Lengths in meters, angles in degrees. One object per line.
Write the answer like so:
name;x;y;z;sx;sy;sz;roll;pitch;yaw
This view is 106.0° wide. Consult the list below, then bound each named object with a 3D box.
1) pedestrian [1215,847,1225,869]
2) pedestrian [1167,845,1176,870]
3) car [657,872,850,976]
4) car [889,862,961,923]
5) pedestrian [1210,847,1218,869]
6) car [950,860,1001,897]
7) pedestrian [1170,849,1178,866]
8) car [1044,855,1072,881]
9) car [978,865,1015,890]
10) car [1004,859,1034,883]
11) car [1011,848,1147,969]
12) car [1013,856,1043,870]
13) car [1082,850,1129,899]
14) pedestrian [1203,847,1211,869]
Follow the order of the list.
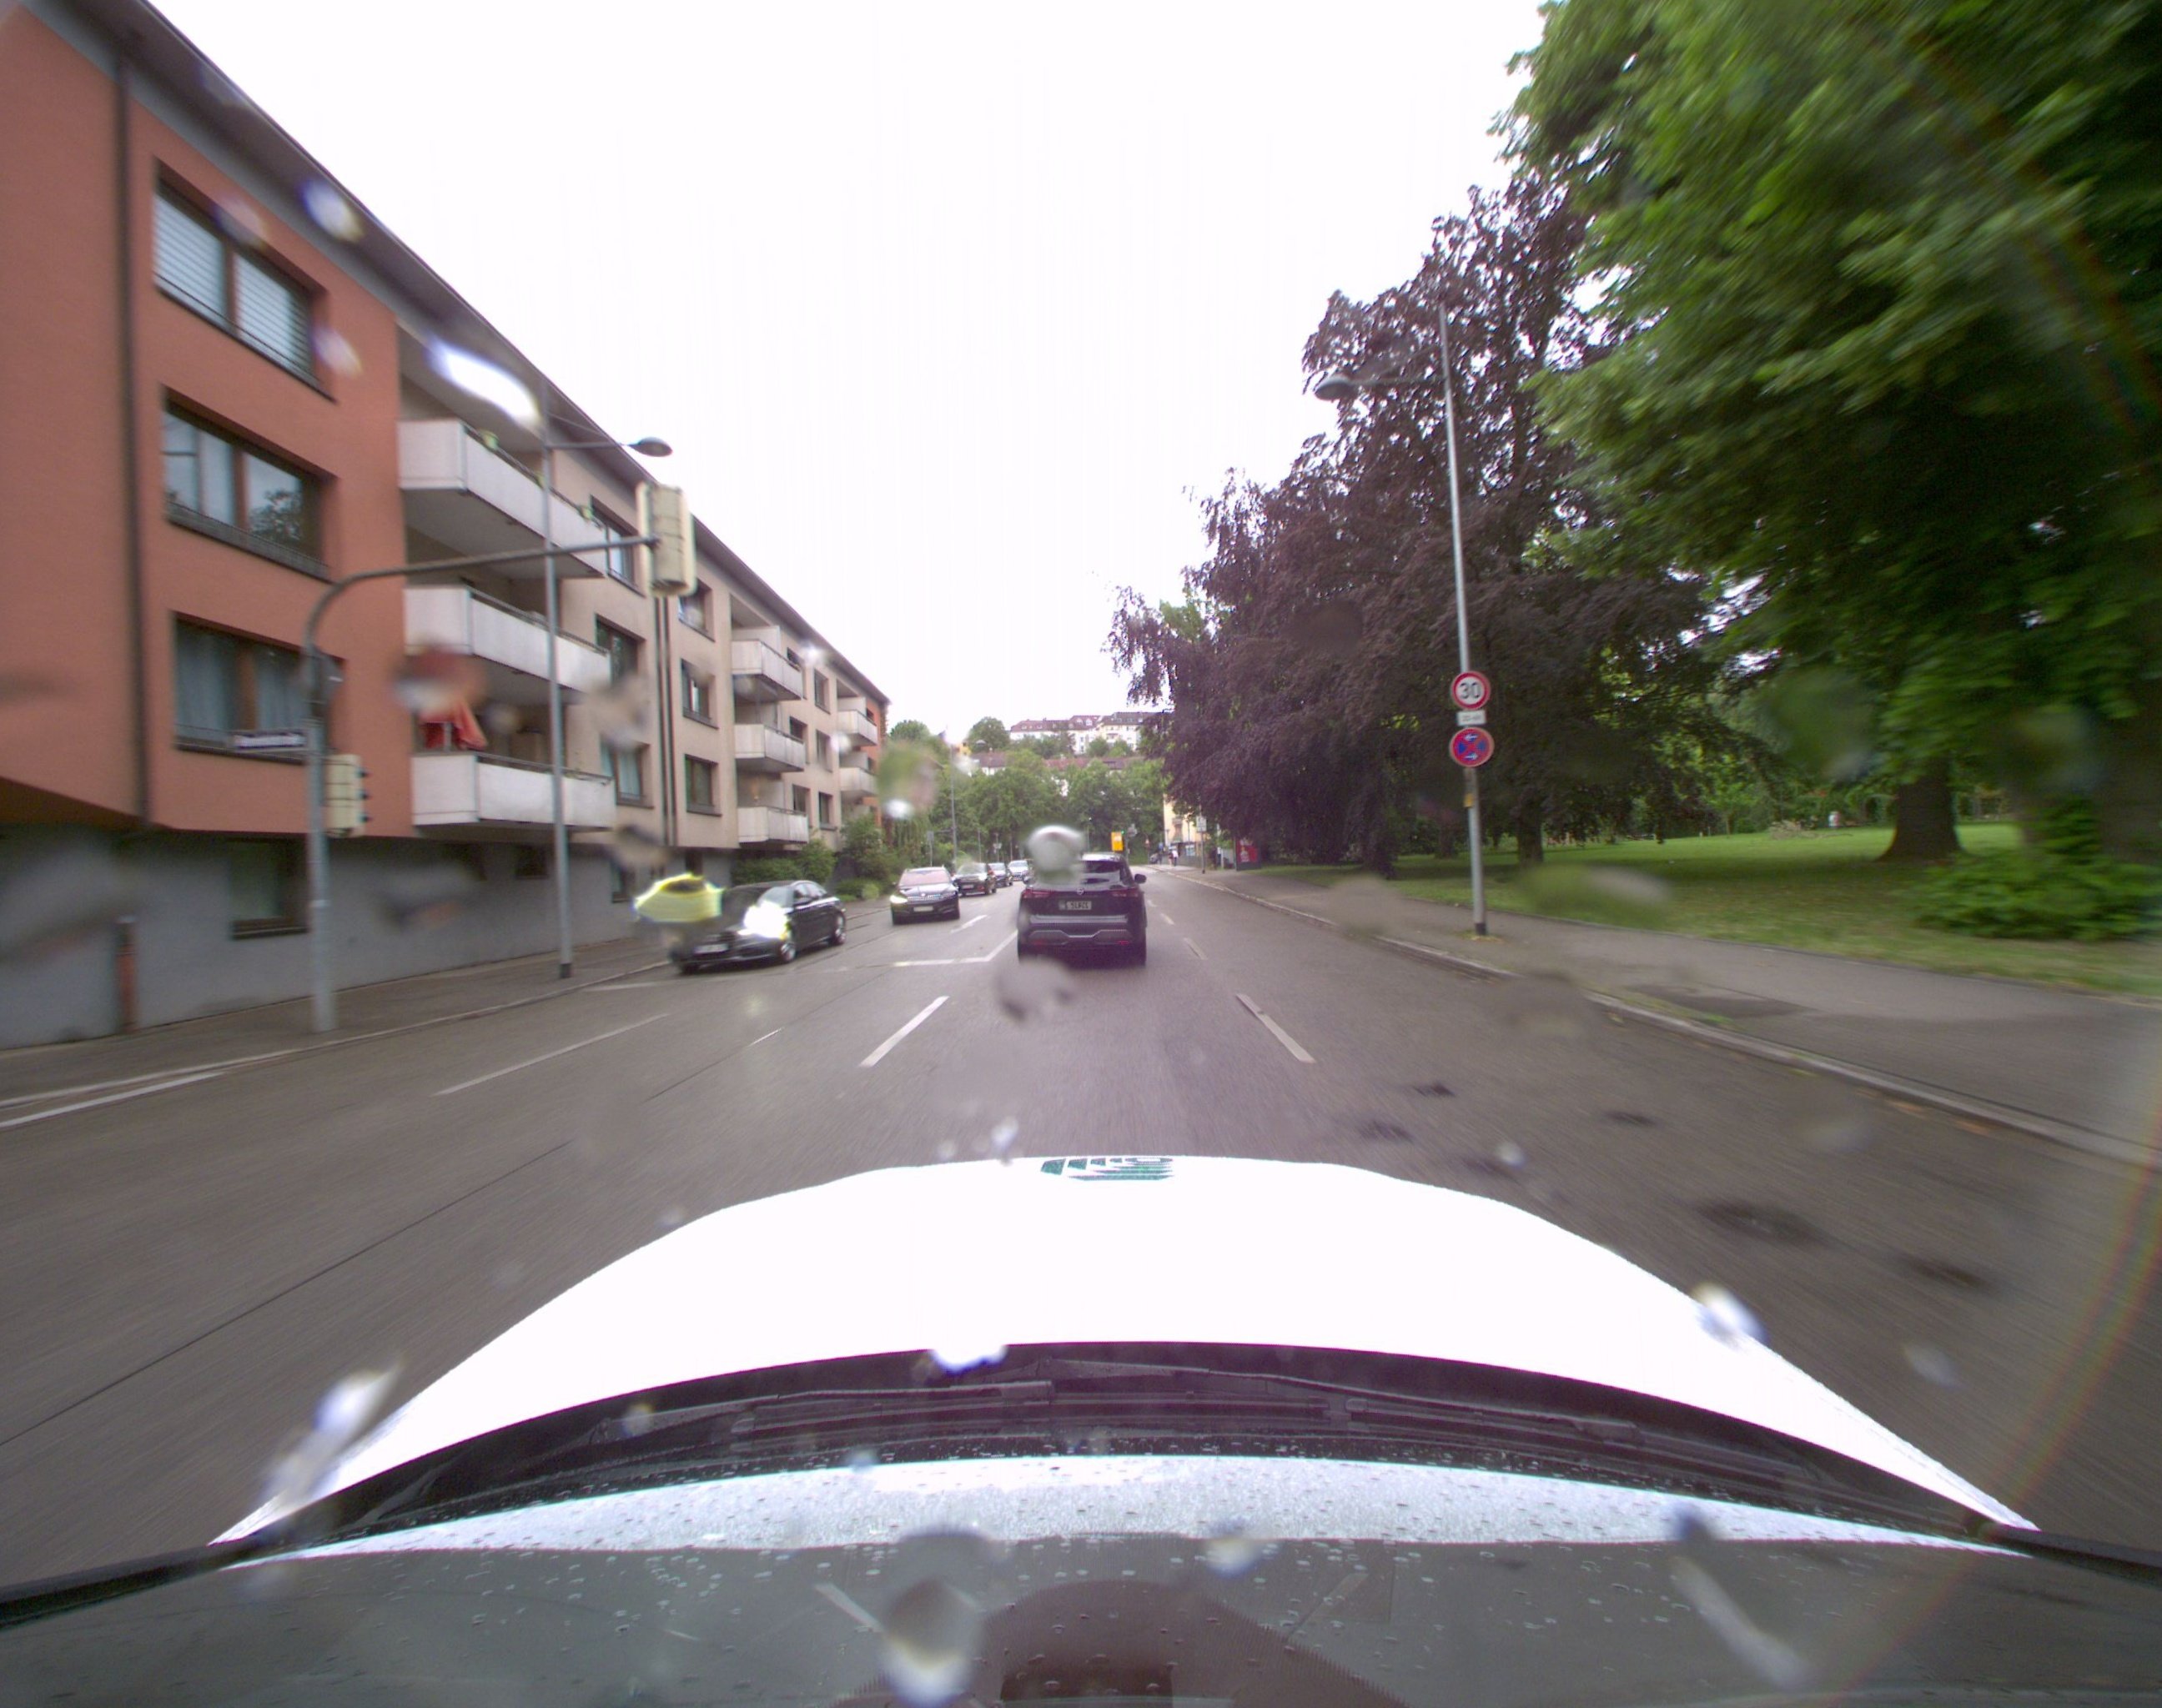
pedestrian;10.410;0.287;60.920;0.694;1.651;0.630;-1;-1;13
pedestrian;7.876;0.288;71.137;0.765;2.184;0.712;-1;-1;4
car;-5.878;1.172;15.228;1.769;1.469;4.217;-4;0;0
car;-4.478;1.043;23.395;1.748;1.469;4.200;-4;0;-11
pedestrian;9.879;0.282;60.294;0.540;1.651;0.492;-1;-1;13
car;-4.879;1.095;38.151;1.671;1.469;4.217;-4;0;0
pedestrian;9.486;0.359;83.090;0.616;1.779;0.778;-4;-1;1
car;-1.662;0.997;60.761;1.757;1.758;3.636;-3;0;2
car;-4.995;1.370;48.332;1.671;1.296;3.751;-4;0;0
car;-4.588;1.257;60.744;1.743;1.633;3.636;-3;0;2
car;0.030;0.754;12.854;1.800;1.590;4.001;-1;-1;1
car;-8.994;1.511;138.338;4.604;2.000;2.007;-4;0;12
car;0.998;0.756;31.629;1.615;1.709;3.774;-4;-1;3
pedestrian;9.354;0.290;60.488;0.472;1.651;0.492;-1;-1;13
